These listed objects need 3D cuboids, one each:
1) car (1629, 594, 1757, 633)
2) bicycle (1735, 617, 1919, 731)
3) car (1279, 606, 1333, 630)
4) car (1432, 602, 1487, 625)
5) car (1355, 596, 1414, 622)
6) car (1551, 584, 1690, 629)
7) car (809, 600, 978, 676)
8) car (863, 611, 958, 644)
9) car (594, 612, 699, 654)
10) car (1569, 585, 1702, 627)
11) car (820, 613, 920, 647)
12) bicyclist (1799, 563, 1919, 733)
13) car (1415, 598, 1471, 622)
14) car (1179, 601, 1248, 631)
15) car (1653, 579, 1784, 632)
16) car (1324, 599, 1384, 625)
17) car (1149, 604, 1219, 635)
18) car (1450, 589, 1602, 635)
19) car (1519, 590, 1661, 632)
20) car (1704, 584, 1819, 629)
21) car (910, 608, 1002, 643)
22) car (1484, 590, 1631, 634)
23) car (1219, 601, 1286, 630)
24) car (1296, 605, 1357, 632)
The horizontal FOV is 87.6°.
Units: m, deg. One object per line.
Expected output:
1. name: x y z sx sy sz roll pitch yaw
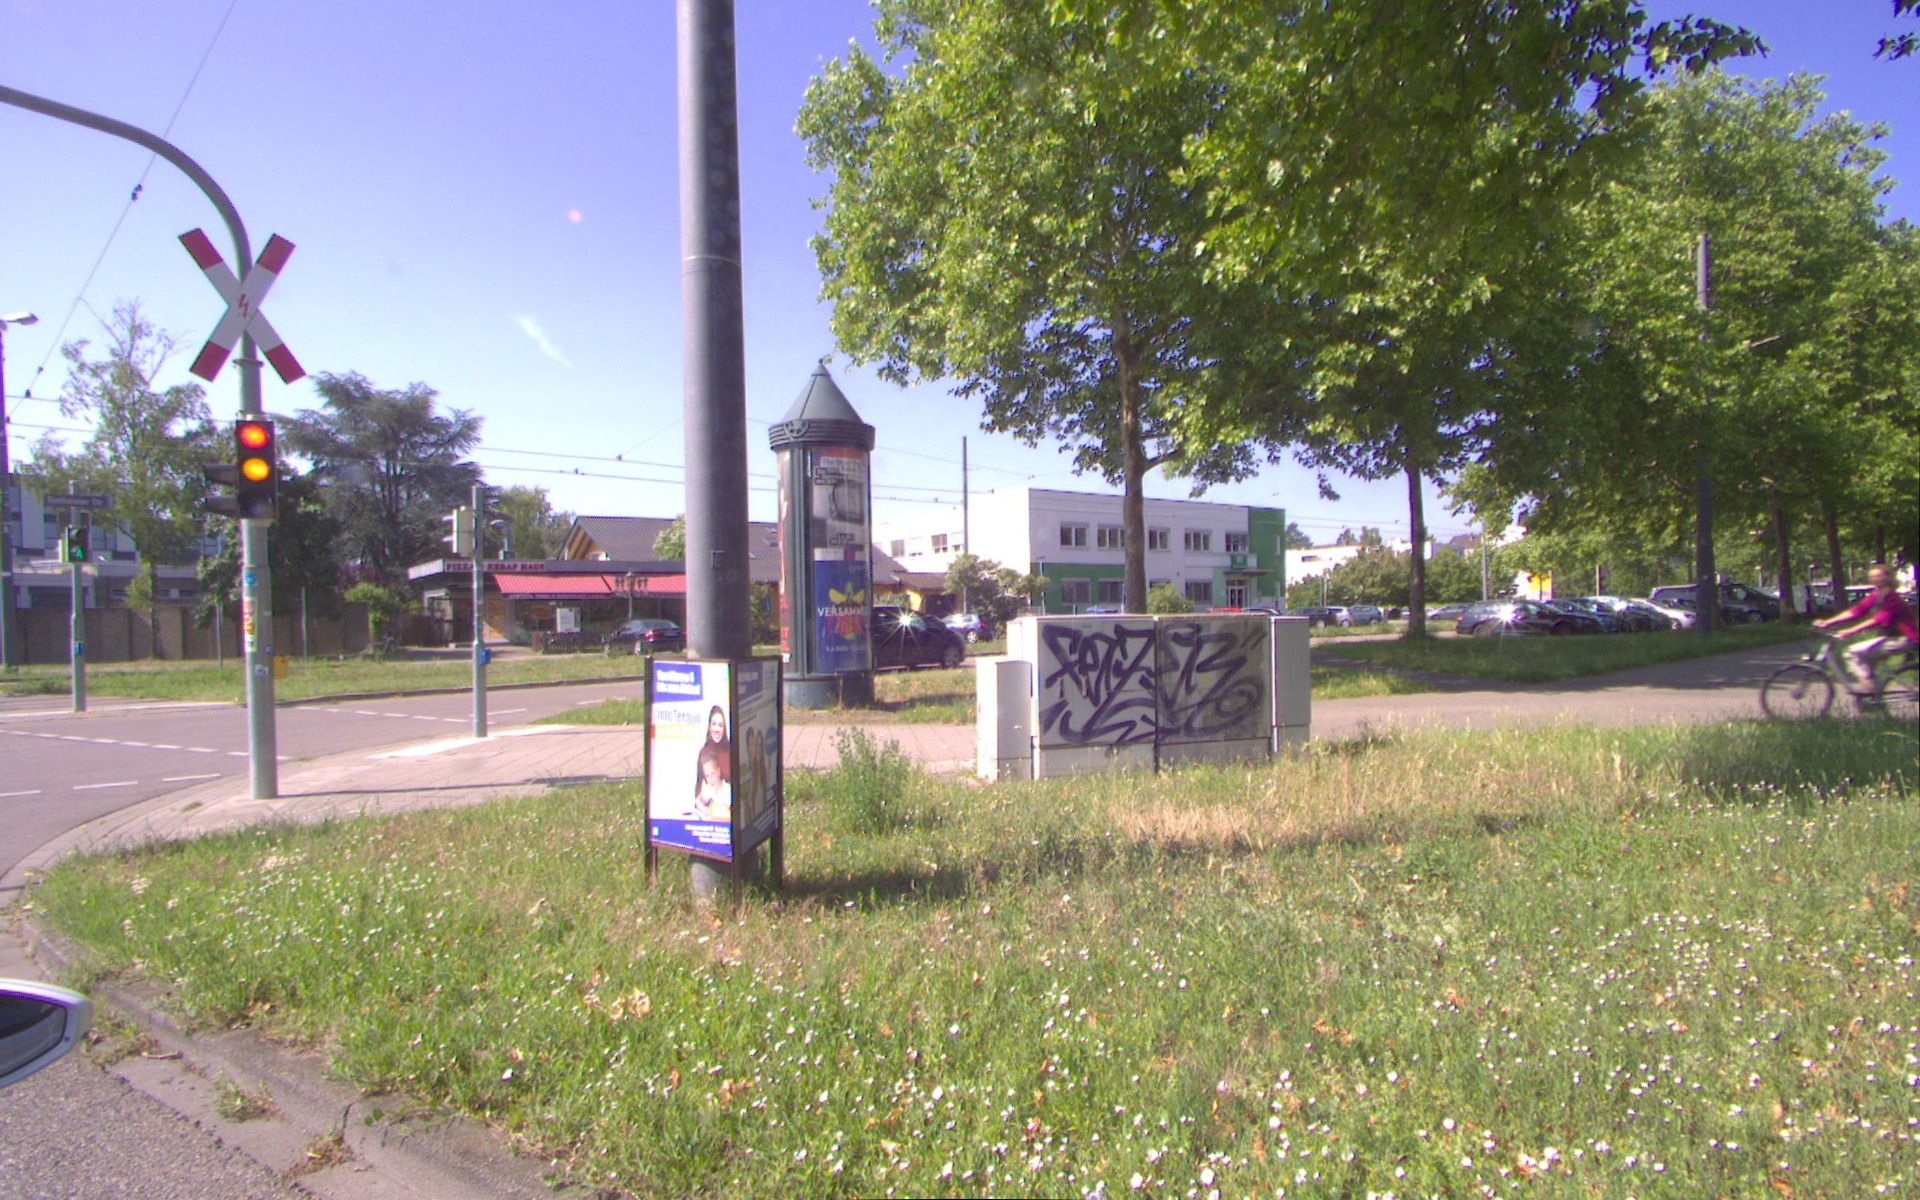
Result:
1. car: 32.109 0.600 43.938 4.309 1.654 1.982 -1 0 44
2. bicycle: 9.968 0.799 11.072 2.089 1.201 0.692 -1 0 21
3. car: 23.478 1.226 68.046 3.383 1.556 1.565 -1 0 18
4. car: 41.301 1.168 82.869 3.934 1.816 1.995 -1 -2 24
5. car: 31.439 0.695 74.220 3.934 1.816 1.995 -1 -2 24
6. car: 26.109 0.307 39.661 4.309 1.654 1.982 -1 -2 44
7. car: -1.541 0.882 24.185 1.775 1.676 3.965 -1 -1 43
8. car: -2.401 1.337 48.956 4.139 1.518 2.136 -2 -1 26
9. car: -12.775 1.370 40.599 2.121 1.518 5.073 -1 -2 -43
10. car: 27.935 0.279 41.474 4.309 1.654 1.982 -1 0 44
11. car: -4.220 1.394 46.932 4.139 1.518 2.136 -2 -1 26
12. bicyclist: 9.936 0.519 11.084 0.796 1.810 0.701 -1 0 21
13. car: 38.906 0.815 80.792 3.934 1.816 1.995 -1 -2 24
14. car: 16.010 1.052 63.153 3.934 1.816 1.995 -1 -2 24
15. car: 35.091 0.288 46.406 1.978 2.320 4.550 -1 0 -41
16. car: 28.333 0.878 72.002 3.934 1.816 1.995 -1 -2 24
17. car: 13.755 1.217 61.489 3.934 1.816 1.995 -1 -2 24
18. car: 19.737 0.446 35.020 4.310 1.510 1.982 -2 -1 44
19. car: 24.030 0.433 38.265 4.309 1.510 1.982 -1 0 44
20. car: 41.694 0.378 52.145 4.542 2.238 1.982 -1 0 44
21. car: -0.191 1.288 50.536 4.139 1.640 2.136 -1 -1 26
22. car: 21.800 0.457 36.652 4.309 1.510 1.982 -1 0 44
23. car: 18.853 1.029 64.559 3.934 1.816 1.995 -1 -2 24
24. car: 25.831 1.324 70.531 3.934 1.816 1.995 -1 -2 24
